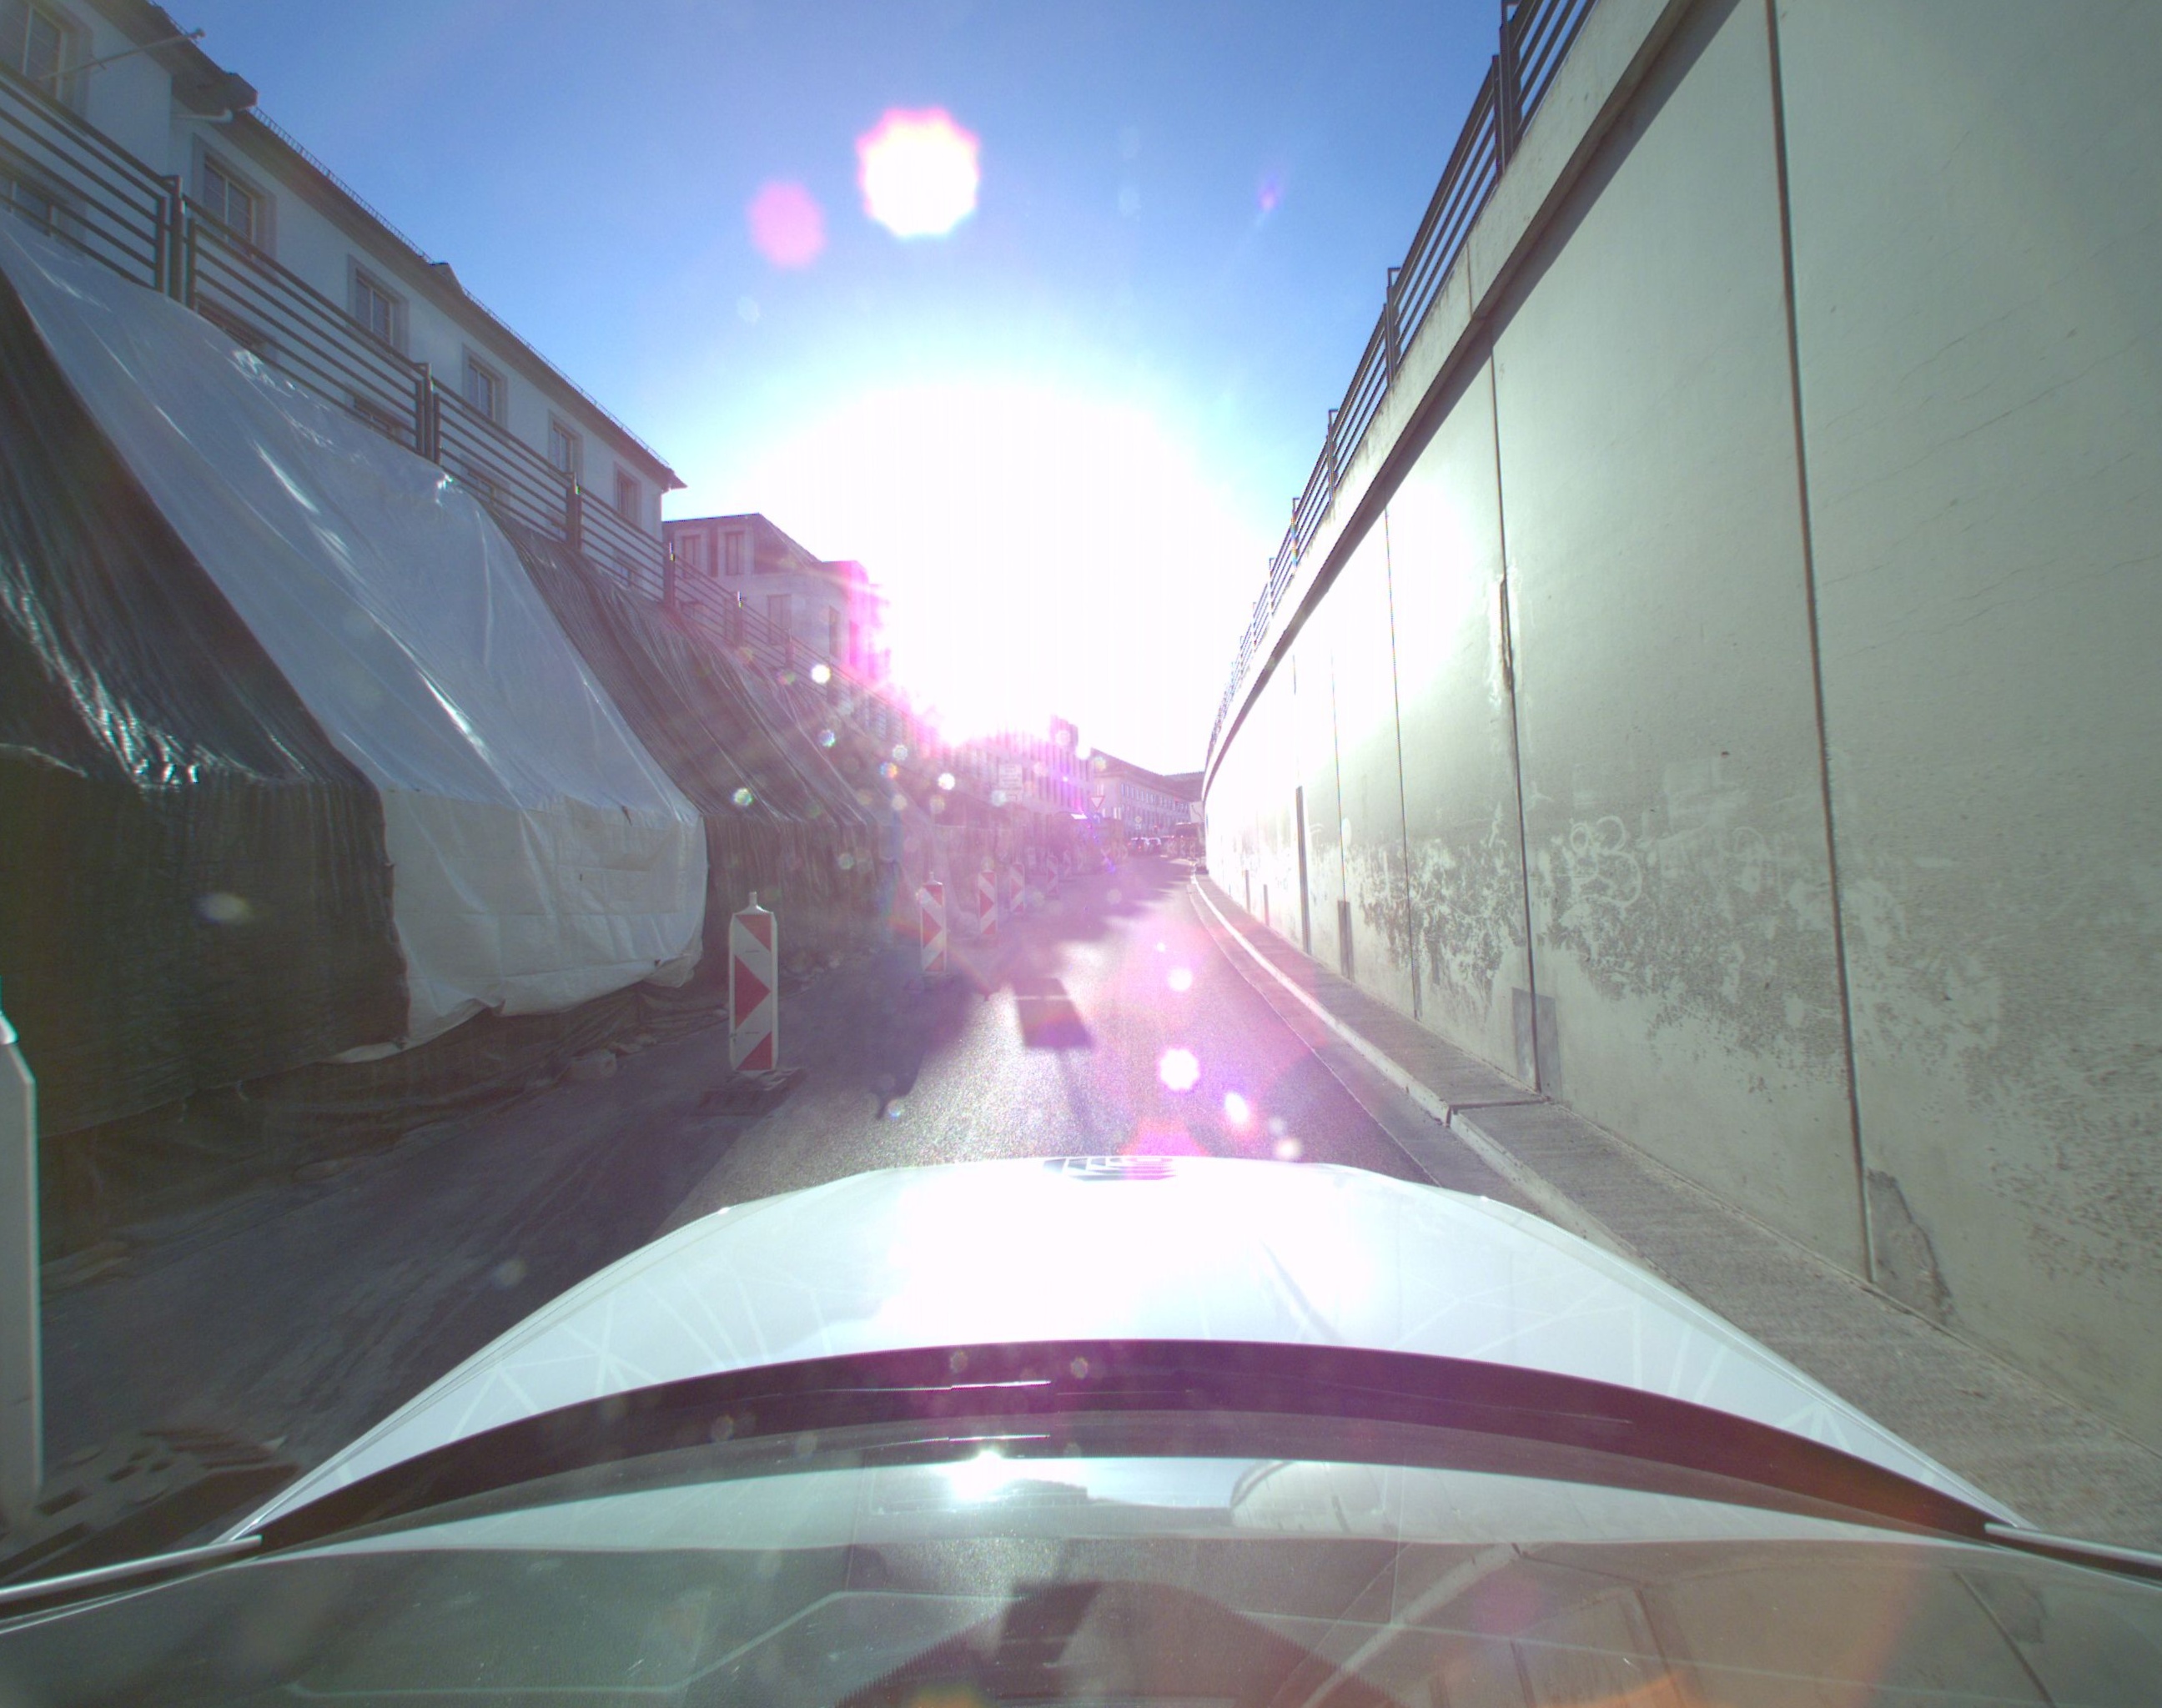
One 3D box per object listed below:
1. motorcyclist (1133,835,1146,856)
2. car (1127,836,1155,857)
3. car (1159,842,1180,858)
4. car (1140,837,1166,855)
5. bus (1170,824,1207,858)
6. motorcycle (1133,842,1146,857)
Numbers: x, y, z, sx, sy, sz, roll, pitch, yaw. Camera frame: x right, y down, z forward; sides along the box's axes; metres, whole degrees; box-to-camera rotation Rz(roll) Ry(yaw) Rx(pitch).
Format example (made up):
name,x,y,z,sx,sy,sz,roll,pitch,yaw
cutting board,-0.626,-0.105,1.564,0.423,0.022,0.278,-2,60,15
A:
name,x,y,z,sx,sy,sz,roll,pitch,yaw
motorcyclist,4.358,-0.593,60.701,0.799,1.504,0.779,-2,-3,10
car,4.989,-0.613,67.489,1.764,1.604,4.014,-1,0,12
car,8.992,-0.393,82.585,1.845,1.533,4.012,-1,0,11
car,6.547,-0.725,73.930,1.808,1.533,4.015,-1,0,13
bus,8.538,-1.031,64.225,2.208,2.557,4.445,-1,0,15
motorcycle,4.375,-0.314,60.775,0.766,0.993,2.189,-2,-3,10
